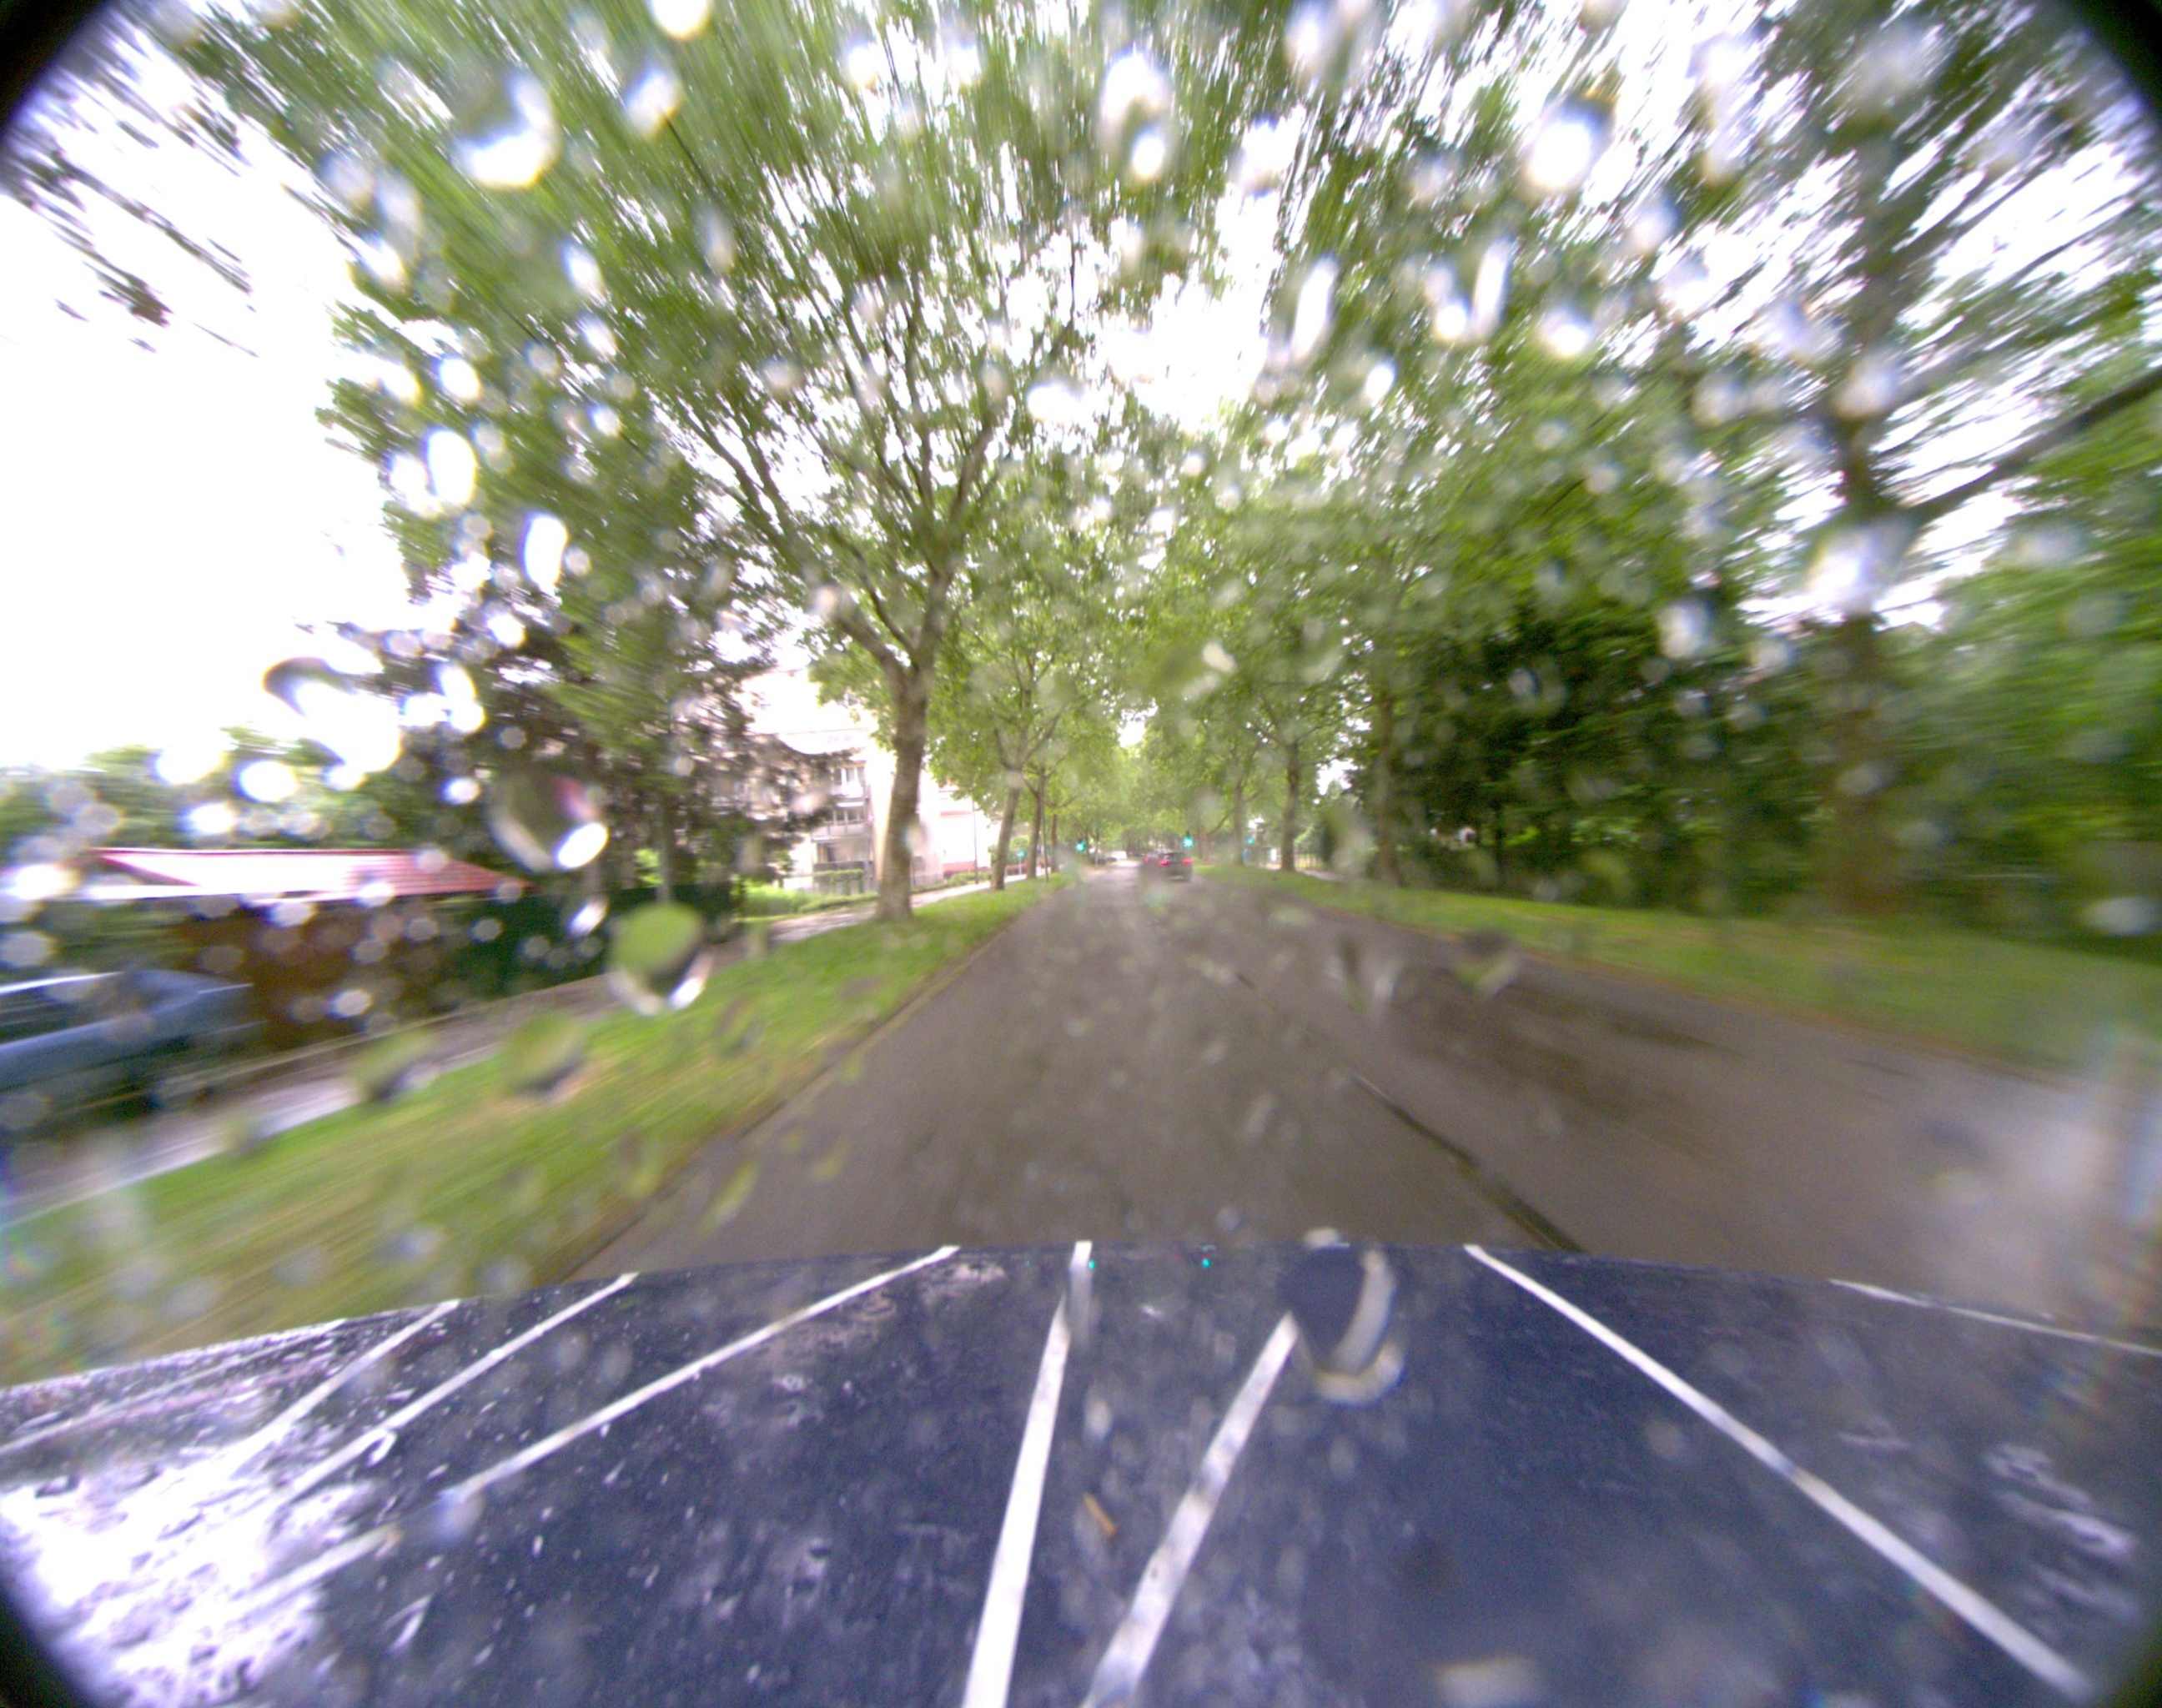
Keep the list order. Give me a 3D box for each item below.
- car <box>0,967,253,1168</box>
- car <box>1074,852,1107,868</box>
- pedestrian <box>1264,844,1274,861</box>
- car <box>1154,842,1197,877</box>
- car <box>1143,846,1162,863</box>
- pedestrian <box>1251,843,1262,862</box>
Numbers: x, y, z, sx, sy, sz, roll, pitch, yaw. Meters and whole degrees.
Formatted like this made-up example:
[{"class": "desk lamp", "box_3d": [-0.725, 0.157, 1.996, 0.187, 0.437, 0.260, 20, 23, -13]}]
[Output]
[{"class": "car", "box_3d": [-9.658, 1.981, 5.989, 1.800, 1.317, 3.999, -7, 1, -2]}, {"class": "car", "box_3d": [1.312, 0.751, 101.393, 4.262, 1.846, 1.892, -3, 1, 1]}, {"class": "pedestrian", "box_3d": [14.804, -0.135, 59.798, 0.517, 1.254, 0.849, -3, 1, 4]}, {"class": "car", "box_3d": [5.141, 0.260, 41.879, 1.813, 1.718, 4.455, -3, 1, 2]}, {"class": "car", "box_3d": [7.692, 0.044, 81.630, 1.822, 1.645, 4.774, -3, 1, 4]}, {"class": "pedestrian", "box_3d": [13.846, -0.120, 59.894, 0.599, 1.445, 0.857, -3, 1, 4]}]
